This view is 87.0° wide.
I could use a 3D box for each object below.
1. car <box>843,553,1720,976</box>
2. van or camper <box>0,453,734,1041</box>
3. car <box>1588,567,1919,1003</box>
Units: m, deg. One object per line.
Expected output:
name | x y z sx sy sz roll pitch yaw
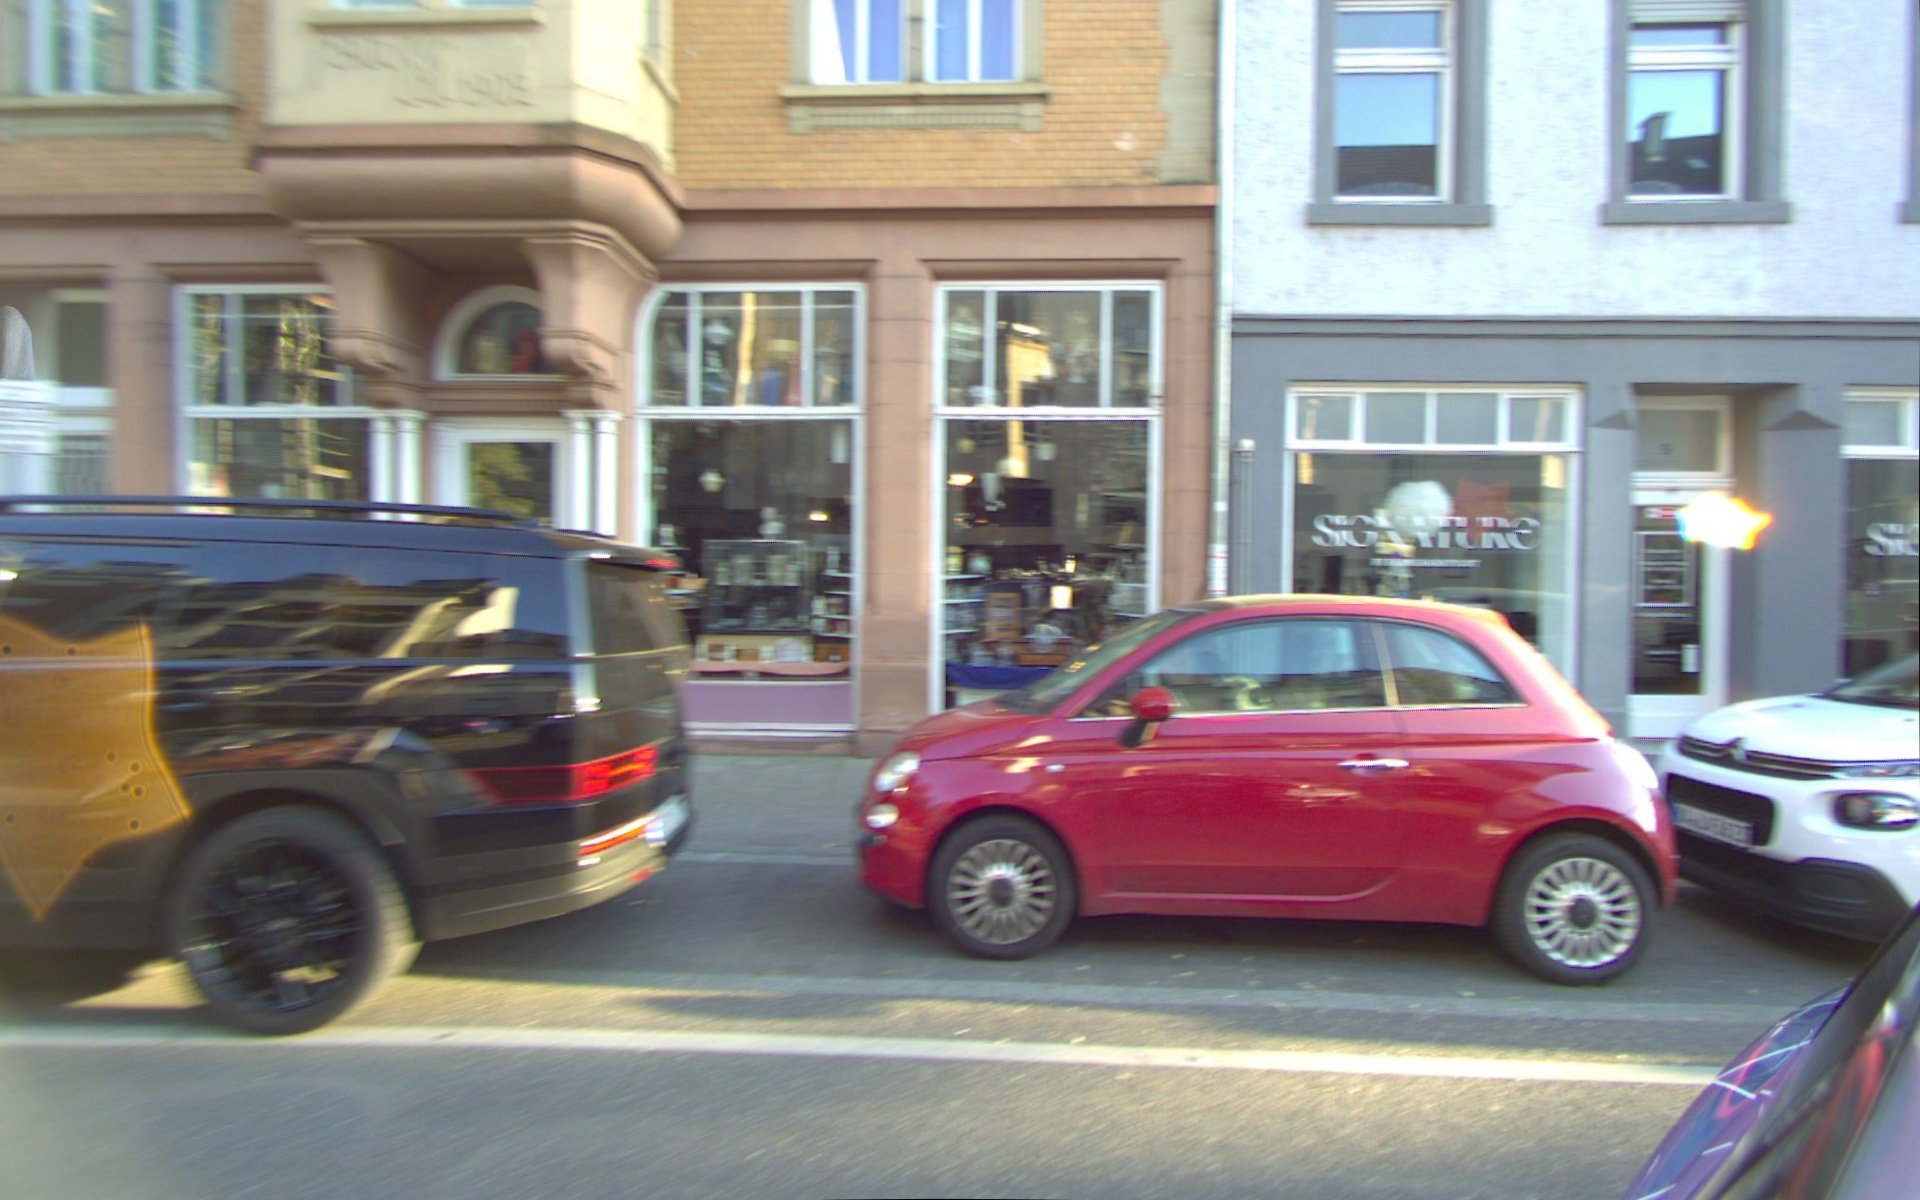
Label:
car | 1.252 0.613 4.729 3.360 1.590 1.529 0 0 4
van or camper | -3.277 0.442 4.083 4.373 1.830 1.897 0 1 -3
car | 5.238 0.686 4.448 3.863 1.593 1.666 0 0 3
